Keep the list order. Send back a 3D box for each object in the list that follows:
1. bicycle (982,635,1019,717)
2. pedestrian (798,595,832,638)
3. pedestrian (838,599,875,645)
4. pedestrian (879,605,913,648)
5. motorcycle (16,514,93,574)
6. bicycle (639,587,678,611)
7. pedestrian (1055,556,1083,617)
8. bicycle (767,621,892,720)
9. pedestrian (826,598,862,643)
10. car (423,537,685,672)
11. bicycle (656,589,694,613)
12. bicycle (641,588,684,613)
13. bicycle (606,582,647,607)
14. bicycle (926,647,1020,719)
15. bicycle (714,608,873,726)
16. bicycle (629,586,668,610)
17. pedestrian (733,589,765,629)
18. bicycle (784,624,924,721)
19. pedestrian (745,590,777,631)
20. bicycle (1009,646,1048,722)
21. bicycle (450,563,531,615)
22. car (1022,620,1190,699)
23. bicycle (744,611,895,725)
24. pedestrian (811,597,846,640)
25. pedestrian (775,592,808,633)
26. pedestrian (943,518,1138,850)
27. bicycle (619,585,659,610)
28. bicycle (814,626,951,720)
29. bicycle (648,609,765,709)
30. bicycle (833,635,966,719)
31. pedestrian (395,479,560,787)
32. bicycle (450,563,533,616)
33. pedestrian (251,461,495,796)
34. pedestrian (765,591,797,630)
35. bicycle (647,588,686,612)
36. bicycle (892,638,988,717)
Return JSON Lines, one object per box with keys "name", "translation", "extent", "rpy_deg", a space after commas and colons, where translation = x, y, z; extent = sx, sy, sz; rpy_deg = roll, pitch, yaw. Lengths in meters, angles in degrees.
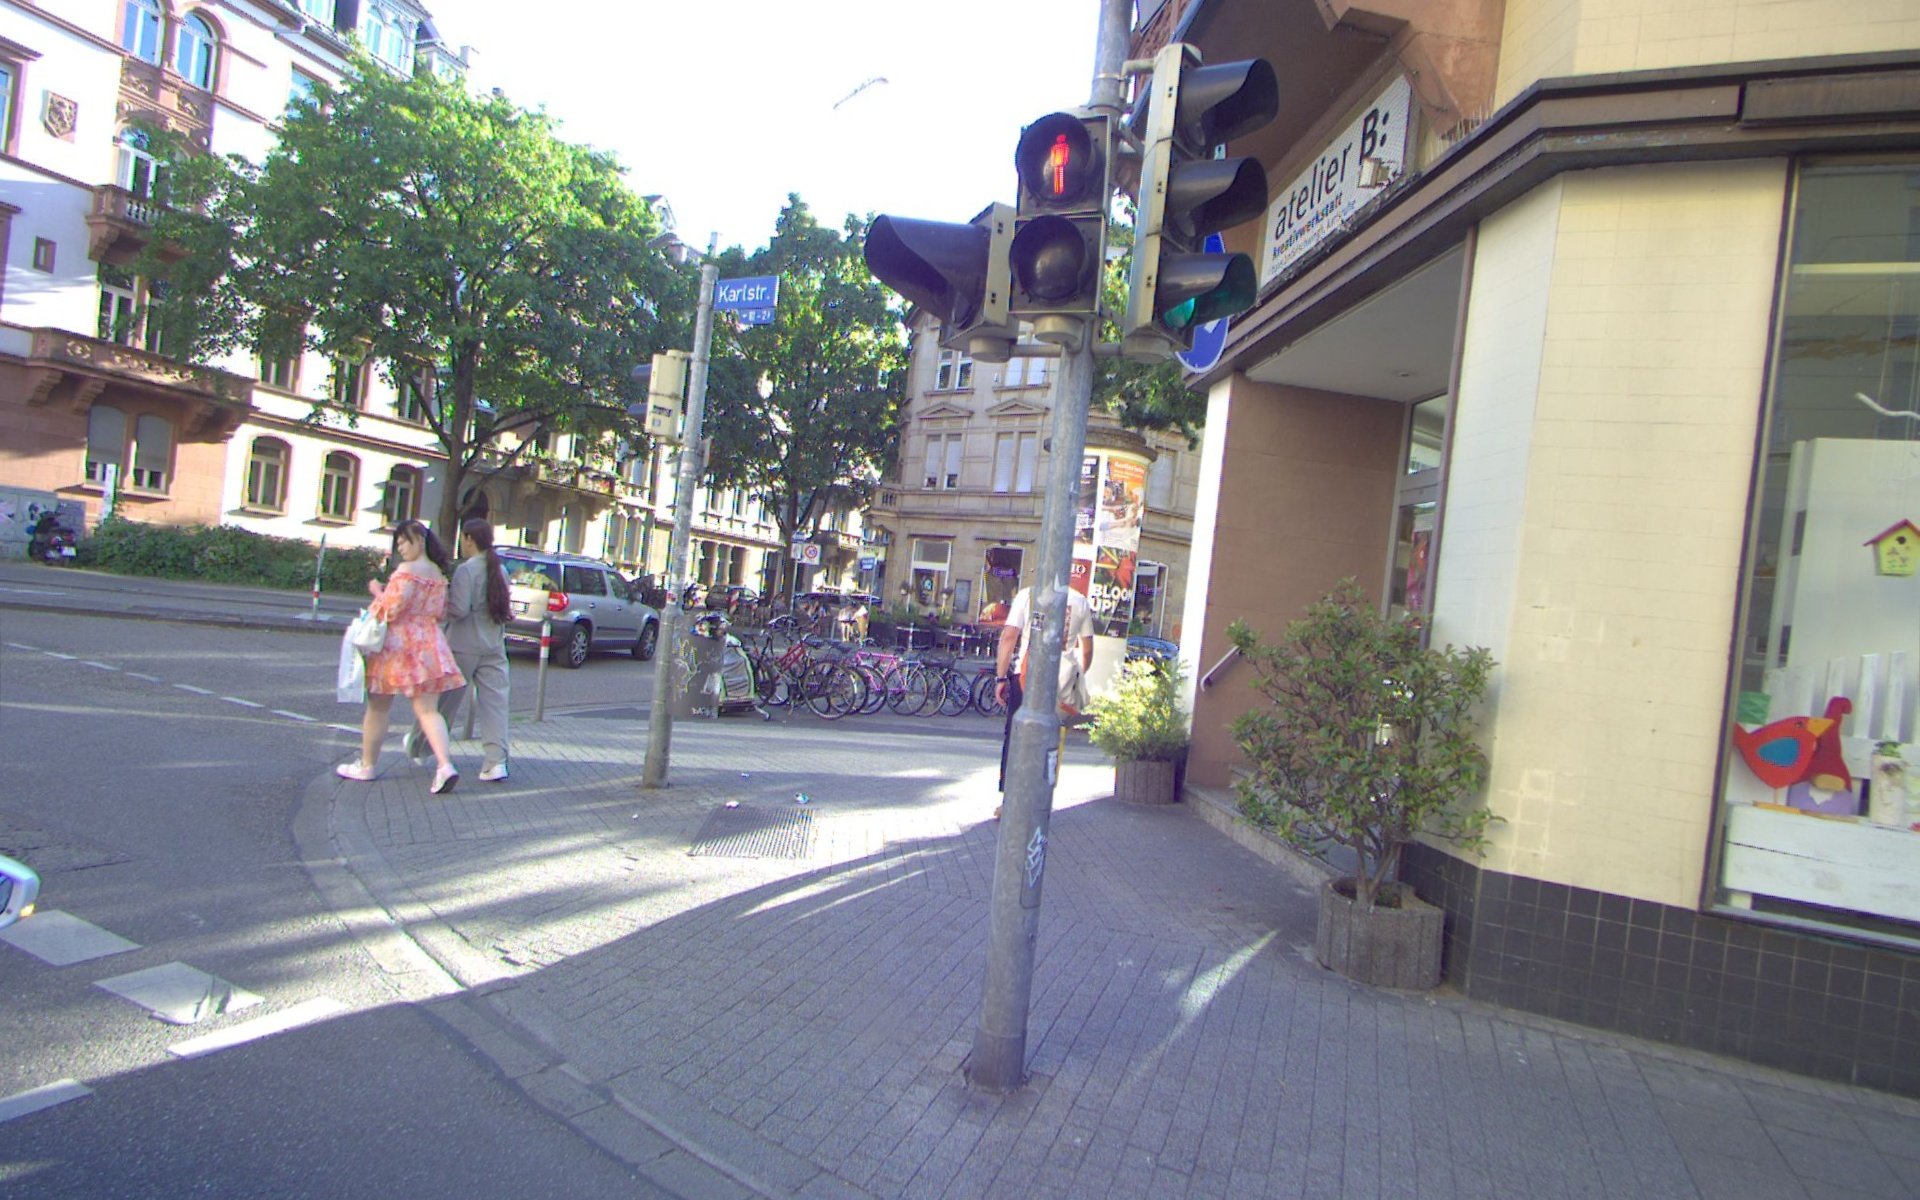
{"name": "bicycle", "translation": [0.652, 1.216, 16.483], "extent": [0.442, 1.238, 1.405], "rpy_deg": [5, -1, 0]}
{"name": "pedestrian", "translation": [-5.180, 0.598, 35.886], "extent": [0.905, 1.448, 0.758], "rpy_deg": [2, 3, -35]}
{"name": "pedestrian", "translation": [-3.461, 0.737, 33.499], "extent": [0.905, 1.448, 0.758], "rpy_deg": [2, 3, -33]}
{"name": "pedestrian", "translation": [-2.275, 0.925, 35.495], "extent": [0.758, 1.448, 0.906], "rpy_deg": [2, 3, -36]}
{"name": "motorcycle", "translation": [-20.082, -1.242, 22.297], "extent": [2.250, 1.033, 0.719], "rpy_deg": [9, 2, 35]}
{"name": "bicycle", "translation": [-13.838, -0.043, 46.101], "extent": [1.765, 0.904, 0.493], "rpy_deg": [7, 0, 25]}
{"name": "pedestrian", "translation": [3.711, -0.442, 34.225], "extent": [0.725, 1.990, 0.730], "rpy_deg": [6, 1, 5]}
{"name": "bicycle", "translation": [-1.739, 0.915, 13.309], "extent": [1.583, 1.125, 0.450], "rpy_deg": [5, 0, 27]}
{"name": "pedestrian", "translation": [-3.943, 0.698, 34.179], "extent": [0.905, 1.448, 0.758], "rpy_deg": [2, 3, -35]}
{"name": "car", "translation": [-6.364, 0.105, 16.348], "extent": [1.962, 1.638, 4.002], "rpy_deg": [9, 0, 9]}
{"name": "bicycle", "translation": [-13.360, 0.040, 47.192], "extent": [1.765, 0.904, 0.493], "rpy_deg": [7, 0, 25]}
{"name": "bicycle", "translation": [-13.138, 0.039, 44.495], "extent": [0.486, 0.904, 1.791], "rpy_deg": [7, 0, 37]}
{"name": "bicycle", "translation": [-14.567, -0.231, 43.904], "extent": [1.765, 0.904, 0.493], "rpy_deg": [7, 0, 25]}
{"name": "bicycle", "translation": [0.196, 1.284, 15.726], "extent": [1.383, 0.961, 0.449], "rpy_deg": [5, 0, 35]}
{"name": "bicycle", "translation": [-2.056, 0.795, 12.317], "extent": [1.887, 1.238, 0.505], "rpy_deg": [5, 0, 27]}
{"name": "bicycle", "translation": [-14.091, -0.088, 45.476], "extent": [1.765, 0.904, 0.493], "rpy_deg": [7, 0, 25]}
{"name": "pedestrian", "translation": [-7.981, 0.329, 38.077], "extent": [0.905, 1.448, 0.758], "rpy_deg": [2, 3, -35]}
{"name": "bicycle", "translation": [-1.466, 0.964, 13.749], "extent": [1.887, 1.112, 0.450], "rpy_deg": [5, 0, 27]}
{"name": "pedestrian", "translation": [-7.371, 0.379, 37.250], "extent": [0.905, 1.448, 0.758], "rpy_deg": [2, 3, -33]}
{"name": "bicycle", "translation": [1.091, 1.330, 16.219], "extent": [0.442, 1.099, 1.405], "rpy_deg": [5, -1, 0]}
{"name": "bicycle", "translation": [-12.617, -0.291, 27.033], "extent": [1.844, 1.176, 0.555], "rpy_deg": [7, 2, -30]}
{"name": "car", "translation": [3.872, 1.584, 26.637], "extent": [3.950, 1.593, 1.792], "rpy_deg": [7, 0, -26]}
{"name": "bicycle", "translation": [-1.807, 0.836, 12.773], "extent": [1.887, 1.238, 0.450], "rpy_deg": [5, 0, 27]}
{"name": "pedestrian", "translation": [-4.587, 0.645, 35.048], "extent": [0.905, 1.448, 0.758], "rpy_deg": [2, 3, -33]}
{"name": "pedestrian", "translation": [-6.334, 0.478, 37.764], "extent": [0.905, 1.448, 0.758], "rpy_deg": [2, 3, -33]}
{"name": "pedestrian", "translation": [0.535, 0.461, 6.294], "extent": [0.793, 1.825, 1.090], "rpy_deg": [7, 5, 19]}
{"name": "bicycle", "translation": [-14.330, -0.130, 44.842], "extent": [1.765, 0.904, 0.493], "rpy_deg": [7, 0, 25]}
{"name": "bicycle", "translation": [-1.110, 1.017, 14.230], "extent": [1.887, 1.112, 0.450], "rpy_deg": [5, 0, 27]}
{"name": "bicycle", "translation": [-3.013, 0.698, 11.970], "extent": [1.046, 1.057, 0.778], "rpy_deg": [5, -1, 32]}
{"name": "bicycle", "translation": [-0.896, 1.103, 14.646], "extent": [1.887, 1.012, 0.450], "rpy_deg": [5, 0, 27]}
{"name": "pedestrian", "translation": [-3.245, 0.207, 6.808], "extent": [0.657, 1.935, 0.692], "rpy_deg": [5, 3, 8]}
{"name": "bicycle", "translation": [-12.336, -0.272, 26.506], "extent": [1.844, 1.176, 0.555], "rpy_deg": [7, 2, -30]}
{"name": "pedestrian", "translation": [-3.526, 0.172, 6.107], "extent": [0.747, 1.821, 0.809], "rpy_deg": [7, -1, 14]}
{"name": "pedestrian", "translation": [-6.908, 0.411, 38.757], "extent": [0.905, 1.448, 0.758], "rpy_deg": [2, 3, -35]}
{"name": "bicycle", "translation": [-13.596, -0.003, 46.581], "extent": [1.765, 0.904, 0.493], "rpy_deg": [7, 0, 25]}
{"name": "bicycle", "translation": [-0.318, 1.164, 15.302], "extent": [1.383, 1.055, 0.449], "rpy_deg": [5, 0, 35]}
